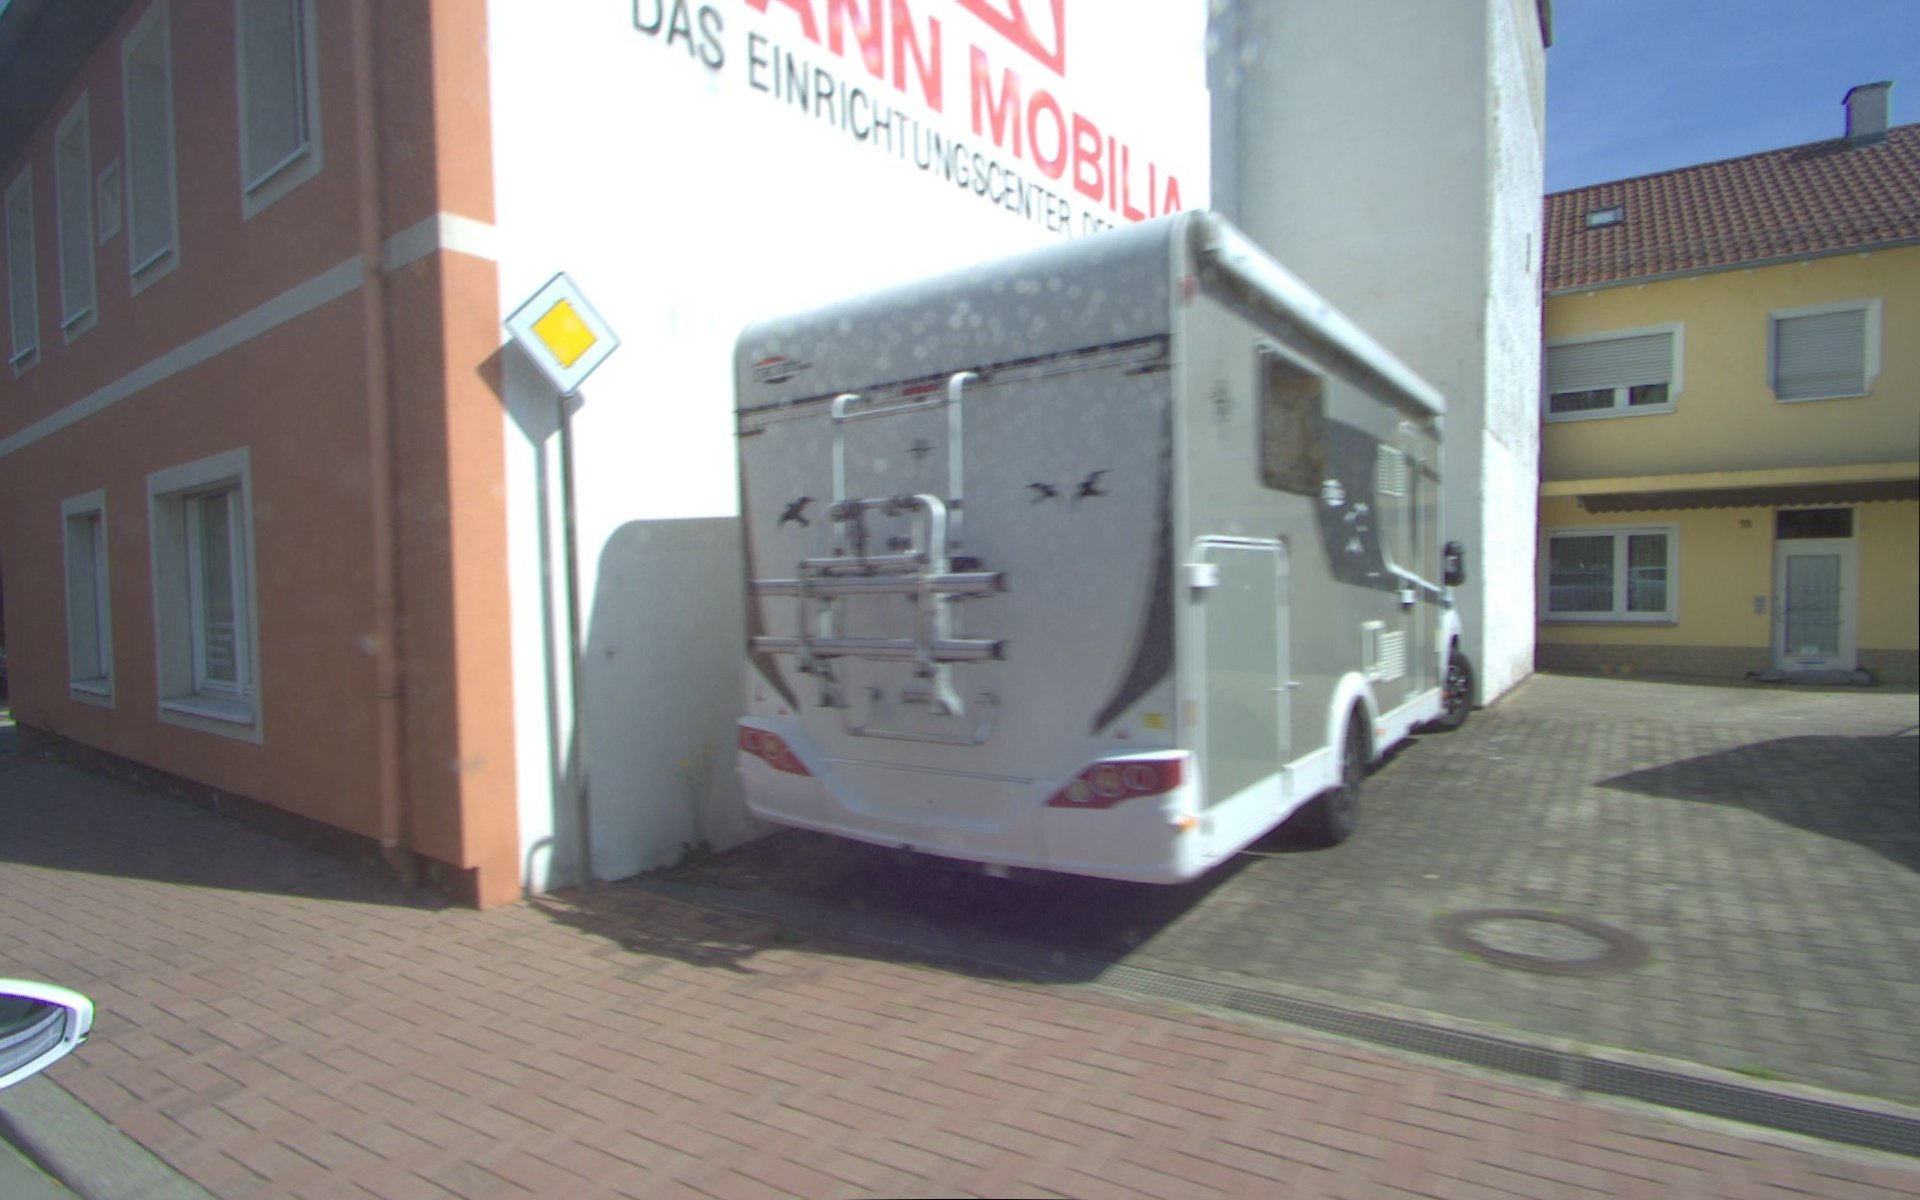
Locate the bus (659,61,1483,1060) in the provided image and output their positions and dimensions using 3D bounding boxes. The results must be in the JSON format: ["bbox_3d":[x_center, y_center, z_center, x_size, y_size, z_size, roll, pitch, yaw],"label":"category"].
[{"bbox_3d":[1.552,-0.180,6.280,2.200,2.944,6.543,-1,1,35],"label":"bus"}]
